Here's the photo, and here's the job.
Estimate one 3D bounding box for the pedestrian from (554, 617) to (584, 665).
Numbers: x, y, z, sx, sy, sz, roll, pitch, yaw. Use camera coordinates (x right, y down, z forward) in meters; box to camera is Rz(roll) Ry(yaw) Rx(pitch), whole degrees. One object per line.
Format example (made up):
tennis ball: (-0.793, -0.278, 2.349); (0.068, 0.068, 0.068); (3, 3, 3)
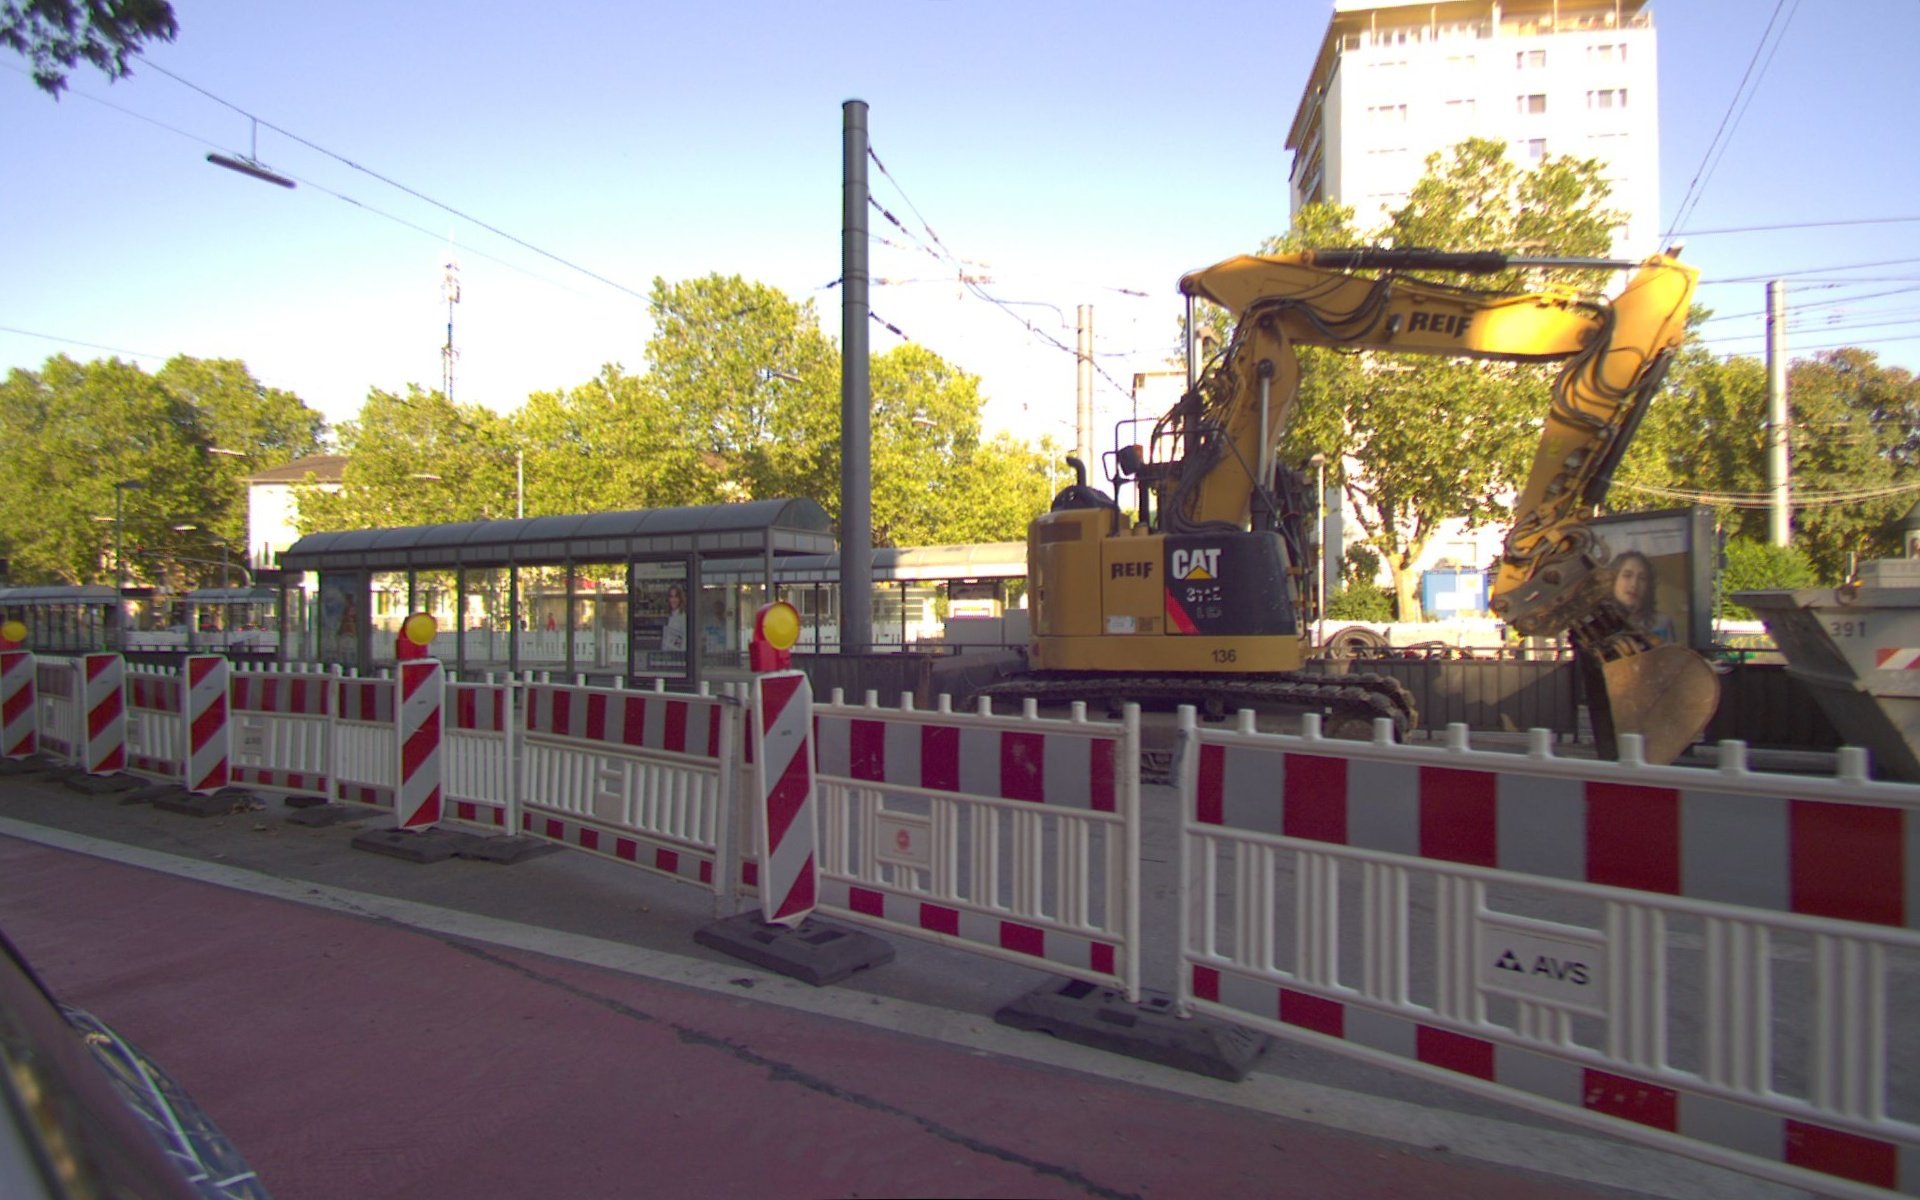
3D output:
pedestrian: (-16.879, 1.774, 43.672); (0.881, 2.029, 0.877); (-2, -2, 33)

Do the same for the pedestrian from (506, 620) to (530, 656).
pedestrian: (-24.764, 2.128, 56.740); (0.881, 2.029, 0.877); (-1, -2, 23)

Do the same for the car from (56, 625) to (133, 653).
car: (-51.608, 2.321, 60.362); (3.352, 1.586, 1.679); (-1, -1, 8)

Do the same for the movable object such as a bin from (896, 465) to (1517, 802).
movable object such as a bin: (2.185, 0.295, 9.274); (4.875, 2.335, 2.629); (-1, -1, 26)

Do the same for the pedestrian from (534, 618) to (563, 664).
pedestrian: (-18.485, 1.850, 45.482); (0.881, 2.029, 0.877); (-2, -2, 33)
